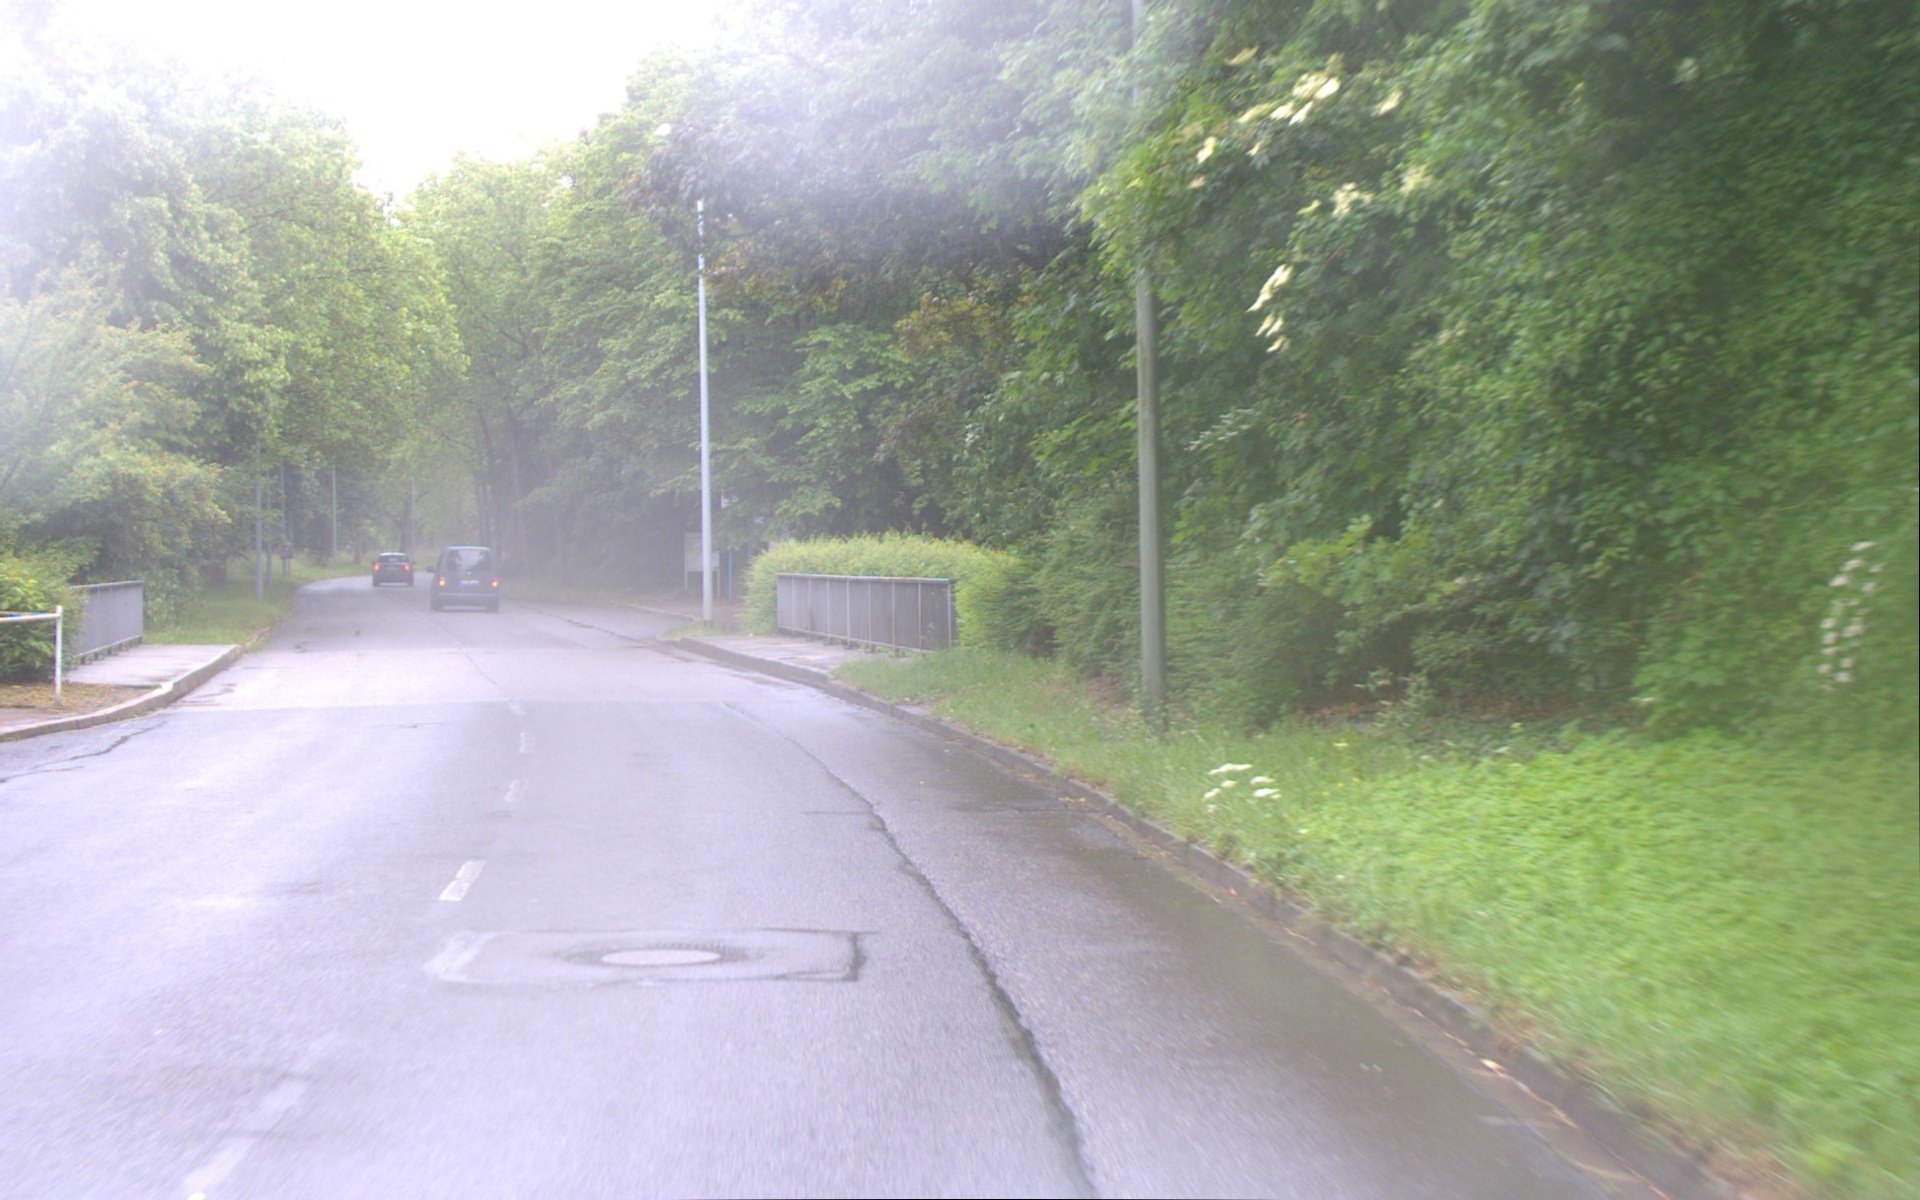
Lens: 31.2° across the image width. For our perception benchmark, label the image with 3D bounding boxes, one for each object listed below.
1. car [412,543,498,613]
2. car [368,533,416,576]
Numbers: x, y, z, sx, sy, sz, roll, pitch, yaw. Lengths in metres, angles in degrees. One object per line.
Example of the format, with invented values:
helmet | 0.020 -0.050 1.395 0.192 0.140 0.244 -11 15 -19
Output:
car | -14.180 -0.640 96.399 1.985 1.919 4.001 0 1 -14
car | -24.814 -1.979 150.064 1.993 1.809 4.001 1 0 -10
